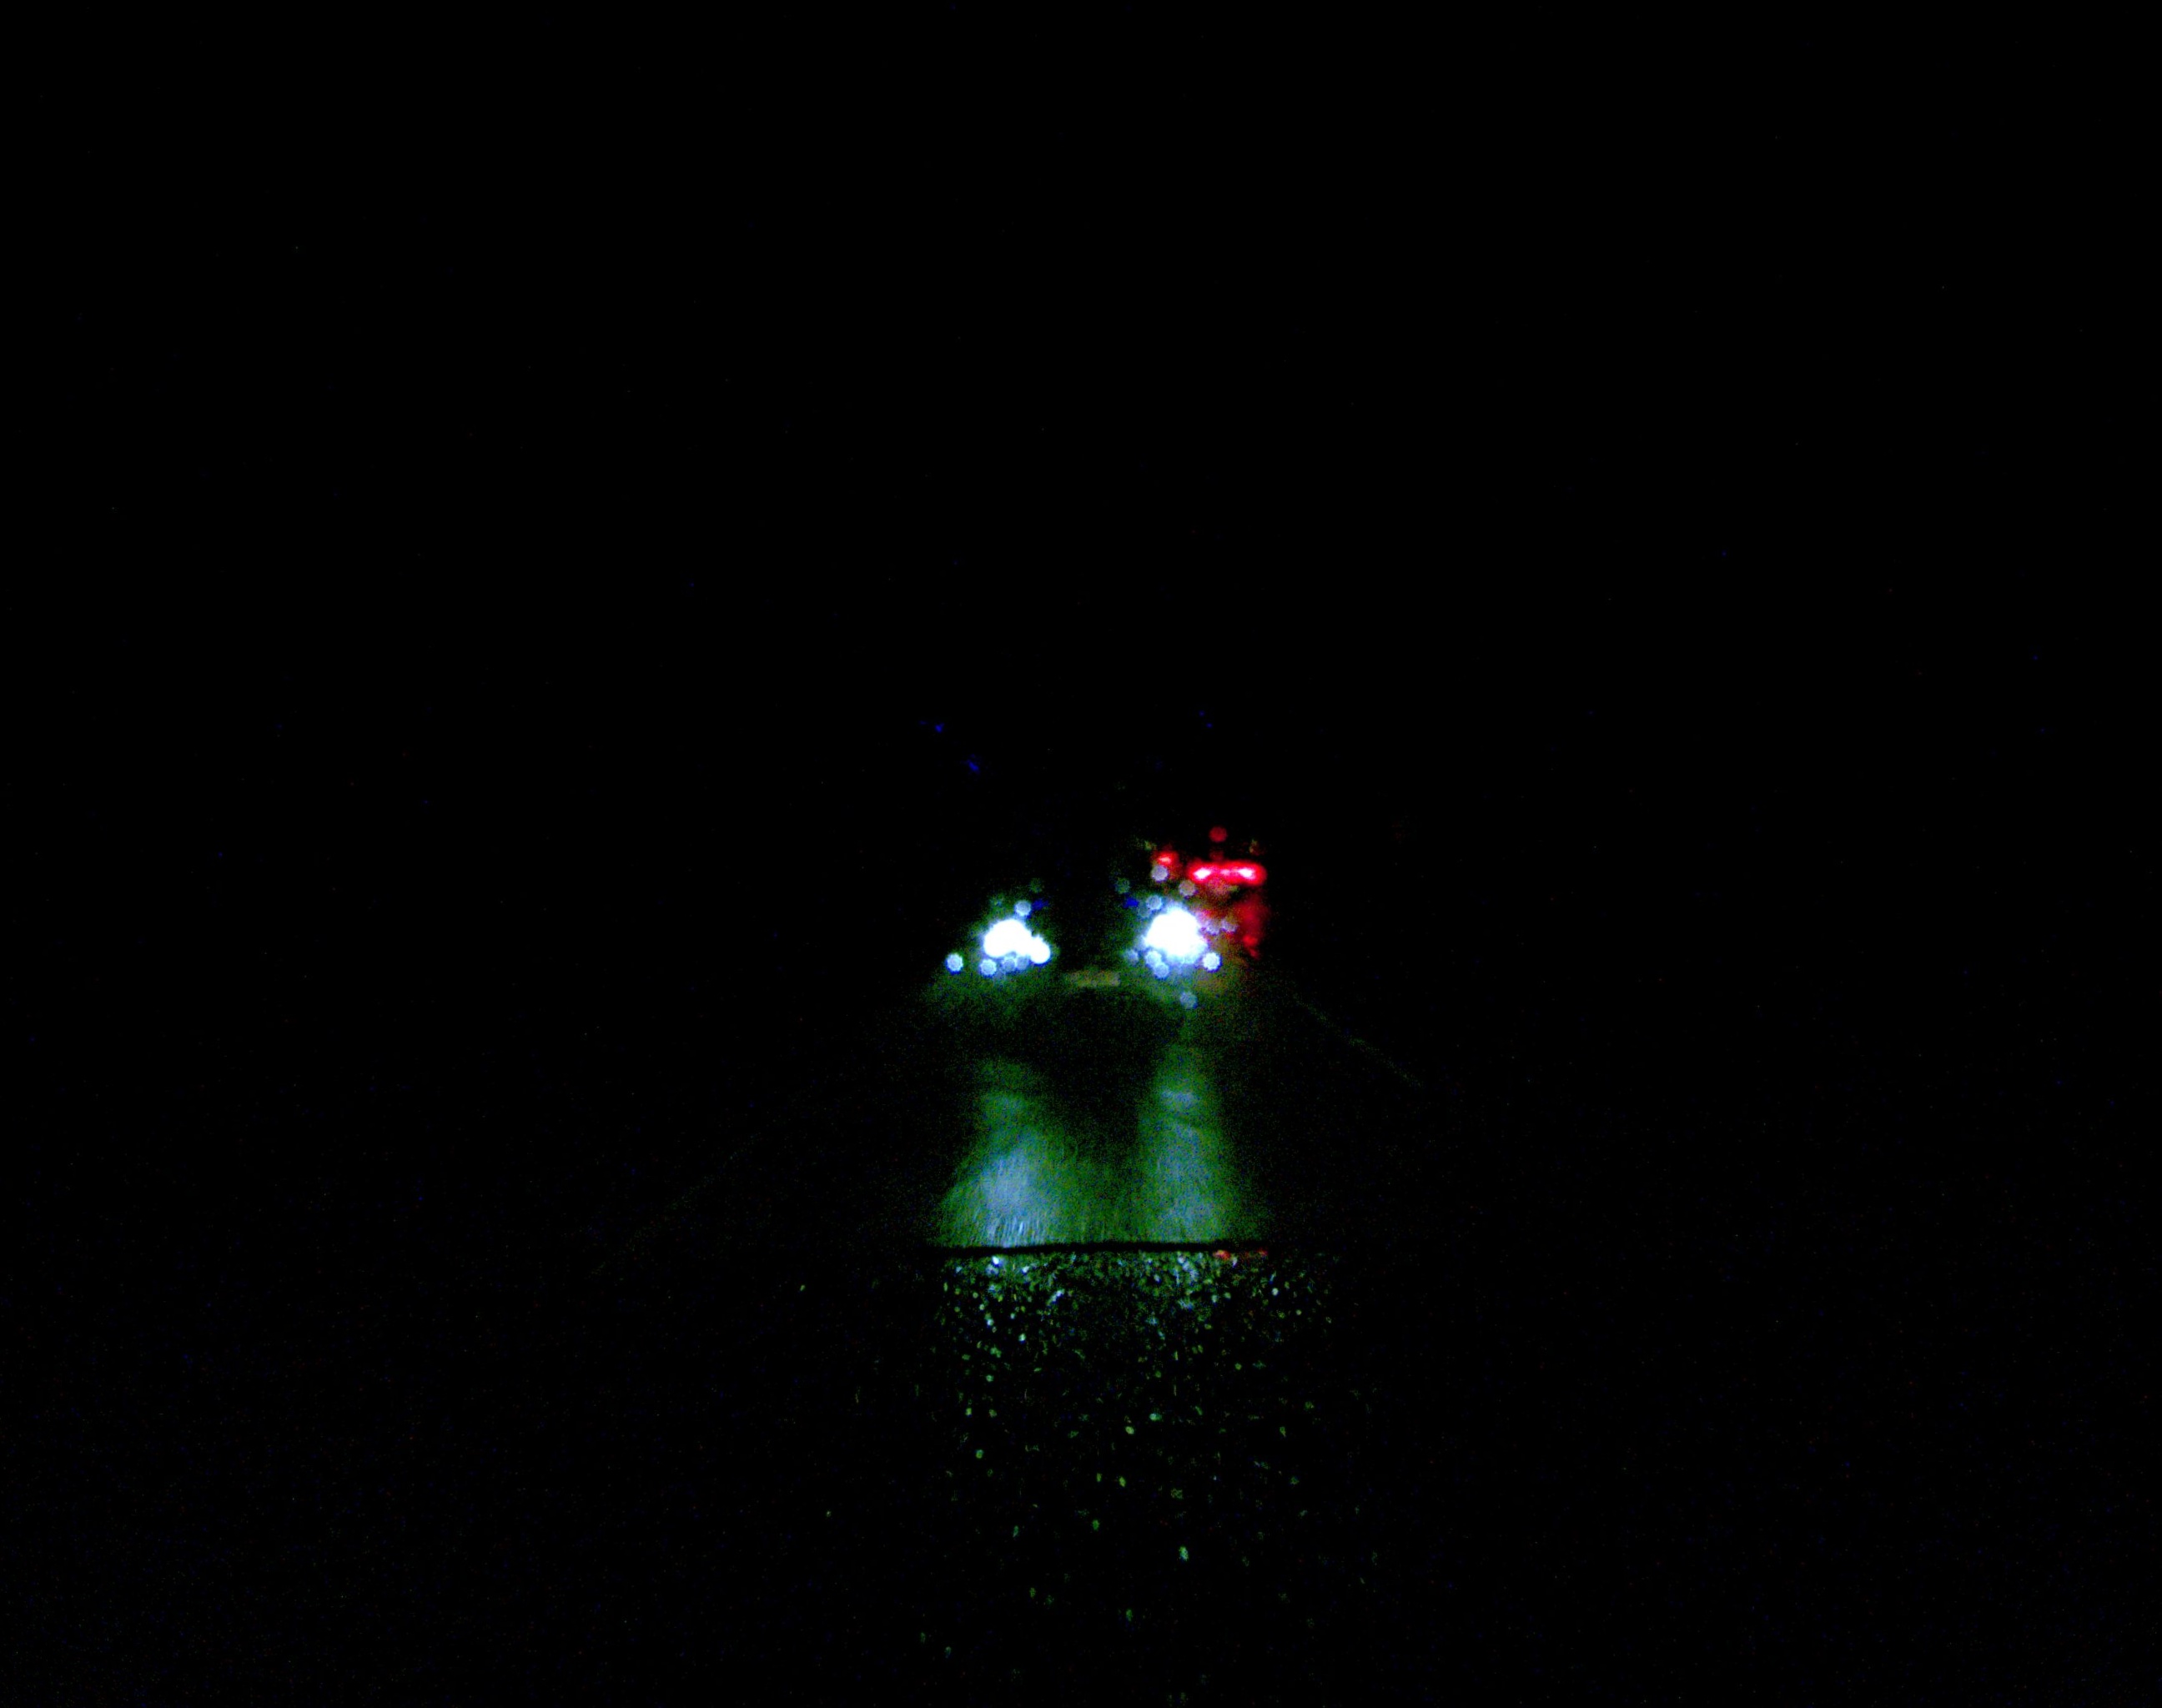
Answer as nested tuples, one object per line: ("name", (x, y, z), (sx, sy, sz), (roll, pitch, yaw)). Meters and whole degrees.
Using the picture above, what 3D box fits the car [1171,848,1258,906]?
("car", (3.947, 0.636, 23.109), (1.842, 1.537, 4.257), (-2, 0, 0))

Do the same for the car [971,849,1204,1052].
("car", (0.151, 0.781, 8.169), (1.845, 1.565, 4.000), (-2, 1, 3))

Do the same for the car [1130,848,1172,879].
("car", (3.887, 0.516, 42.838), (1.957, 1.646, 4.123), (-1, 0, -1))

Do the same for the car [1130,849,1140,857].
("car", (11.303, -0.228, 159.715), (1.845, 1.565, 4.000), (-2, 1, 3))
